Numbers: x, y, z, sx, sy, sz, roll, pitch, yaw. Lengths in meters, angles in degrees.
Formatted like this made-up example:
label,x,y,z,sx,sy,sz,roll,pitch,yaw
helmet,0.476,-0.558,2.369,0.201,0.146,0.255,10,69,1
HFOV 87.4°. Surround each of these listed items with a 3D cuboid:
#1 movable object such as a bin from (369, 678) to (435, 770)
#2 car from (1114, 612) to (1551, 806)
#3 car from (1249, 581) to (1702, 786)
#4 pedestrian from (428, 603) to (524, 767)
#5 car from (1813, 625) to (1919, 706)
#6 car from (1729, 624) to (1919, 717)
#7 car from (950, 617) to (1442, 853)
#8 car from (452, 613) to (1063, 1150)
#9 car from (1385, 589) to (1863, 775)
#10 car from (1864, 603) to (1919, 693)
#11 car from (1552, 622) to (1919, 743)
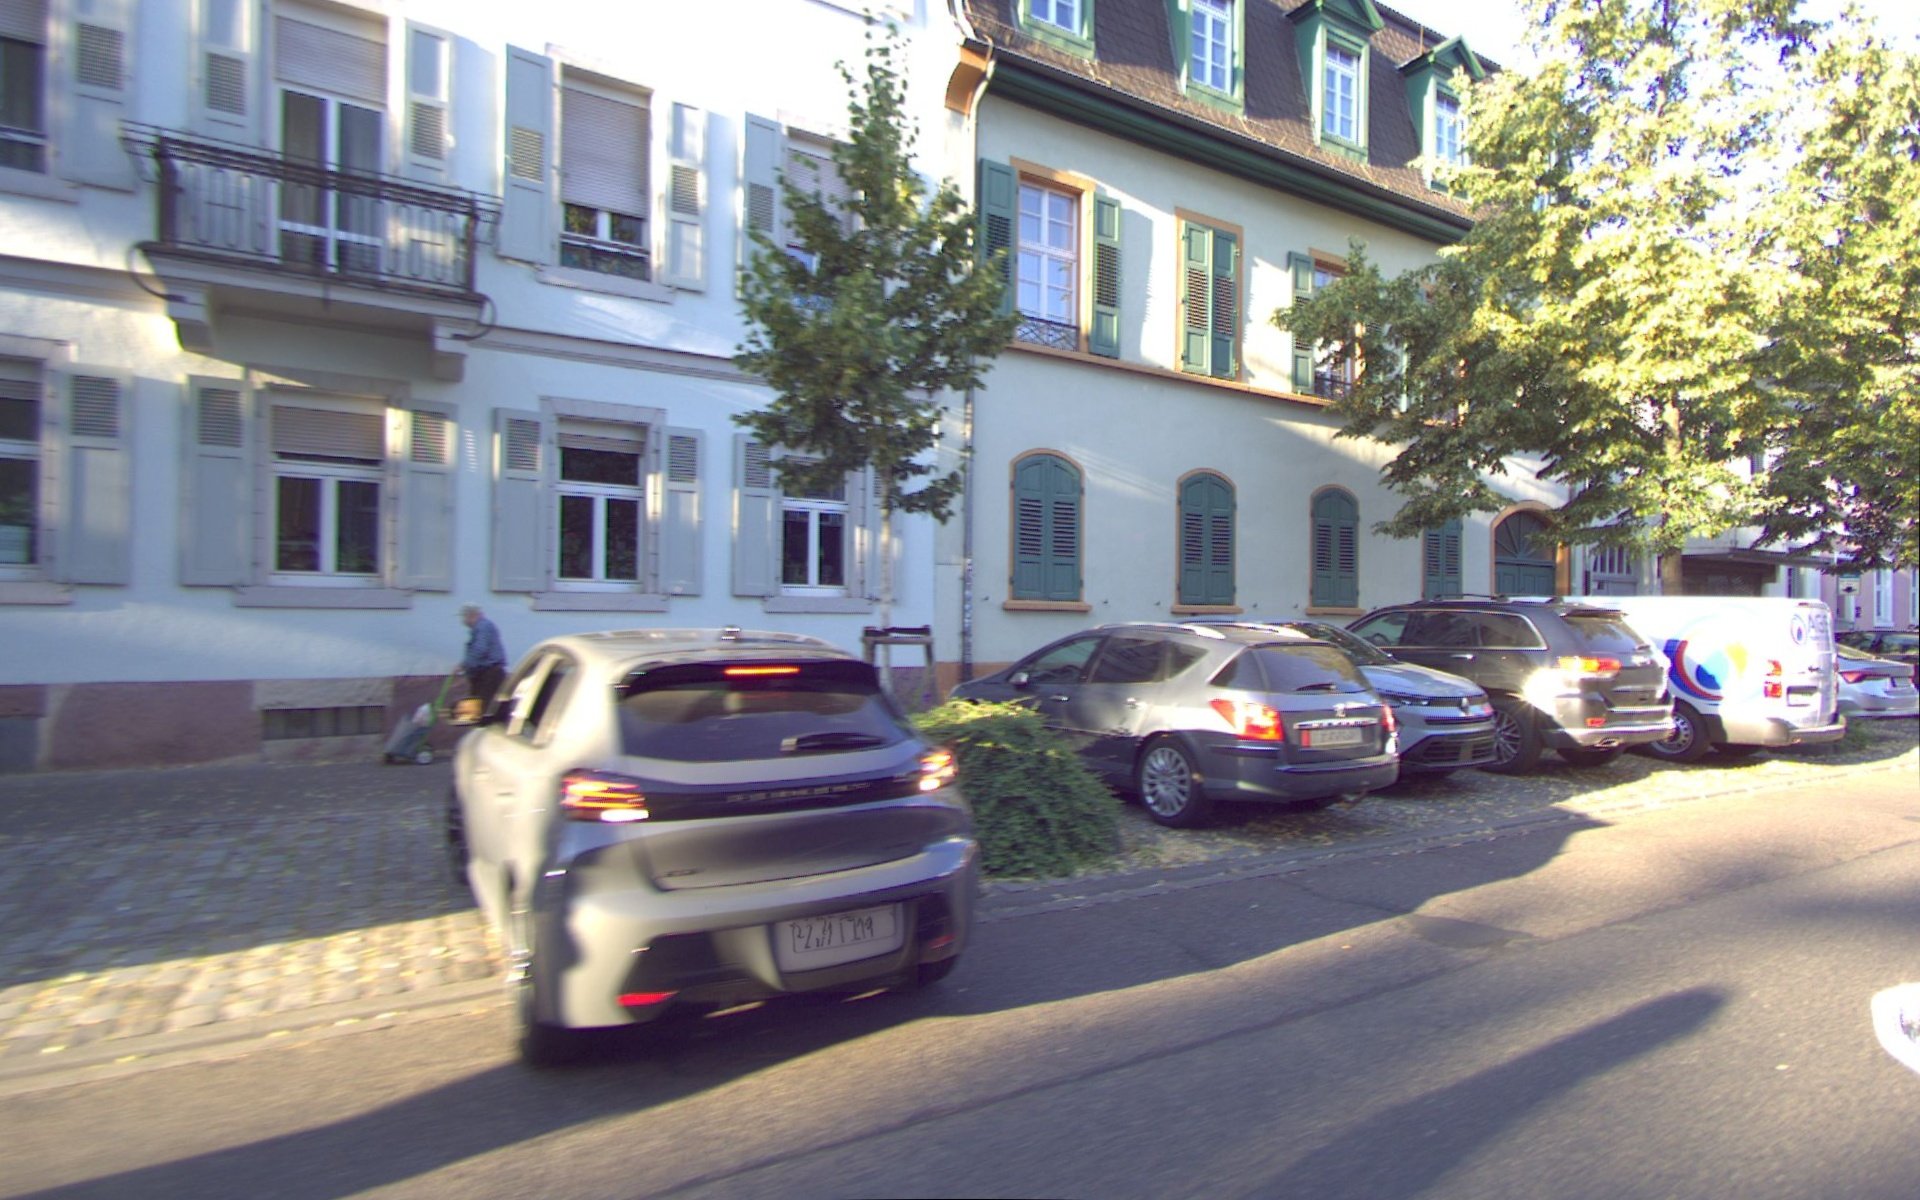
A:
label,x,y,z,sx,sy,sz,roll,pitch,yaw
movable object such as a bin,-5.335,1.168,9.599,0.527,0.808,0.445,1,0,-31
car,3.579,0.923,10.421,1.940,1.576,4.022,1,-1,-28
car,5.663,0.808,11.661,1.871,1.895,4.408,1,-1,-29
pedestrian,-4.840,0.813,10.026,0.787,1.542,0.692,1,0,-31
car,19.615,1.303,19.544,1.824,1.521,4.297,1,0,-35
car,16.787,1.245,18.384,1.881,1.521,3.907,1,0,-28
car,1.748,0.910,8.712,1.940,1.503,4.018,1,-1,-30
car,-1.383,0.813,4.953,1.667,1.481,4.037,1,-1,-32
car,8.247,0.890,13.049,1.951,1.933,4.847,1,-1,-30
car,22.990,1.088,21.907,2.043,2.002,4.463,1,0,-29
car,11.978,1.153,15.713,1.712,1.505,4.460,1,0,-28
